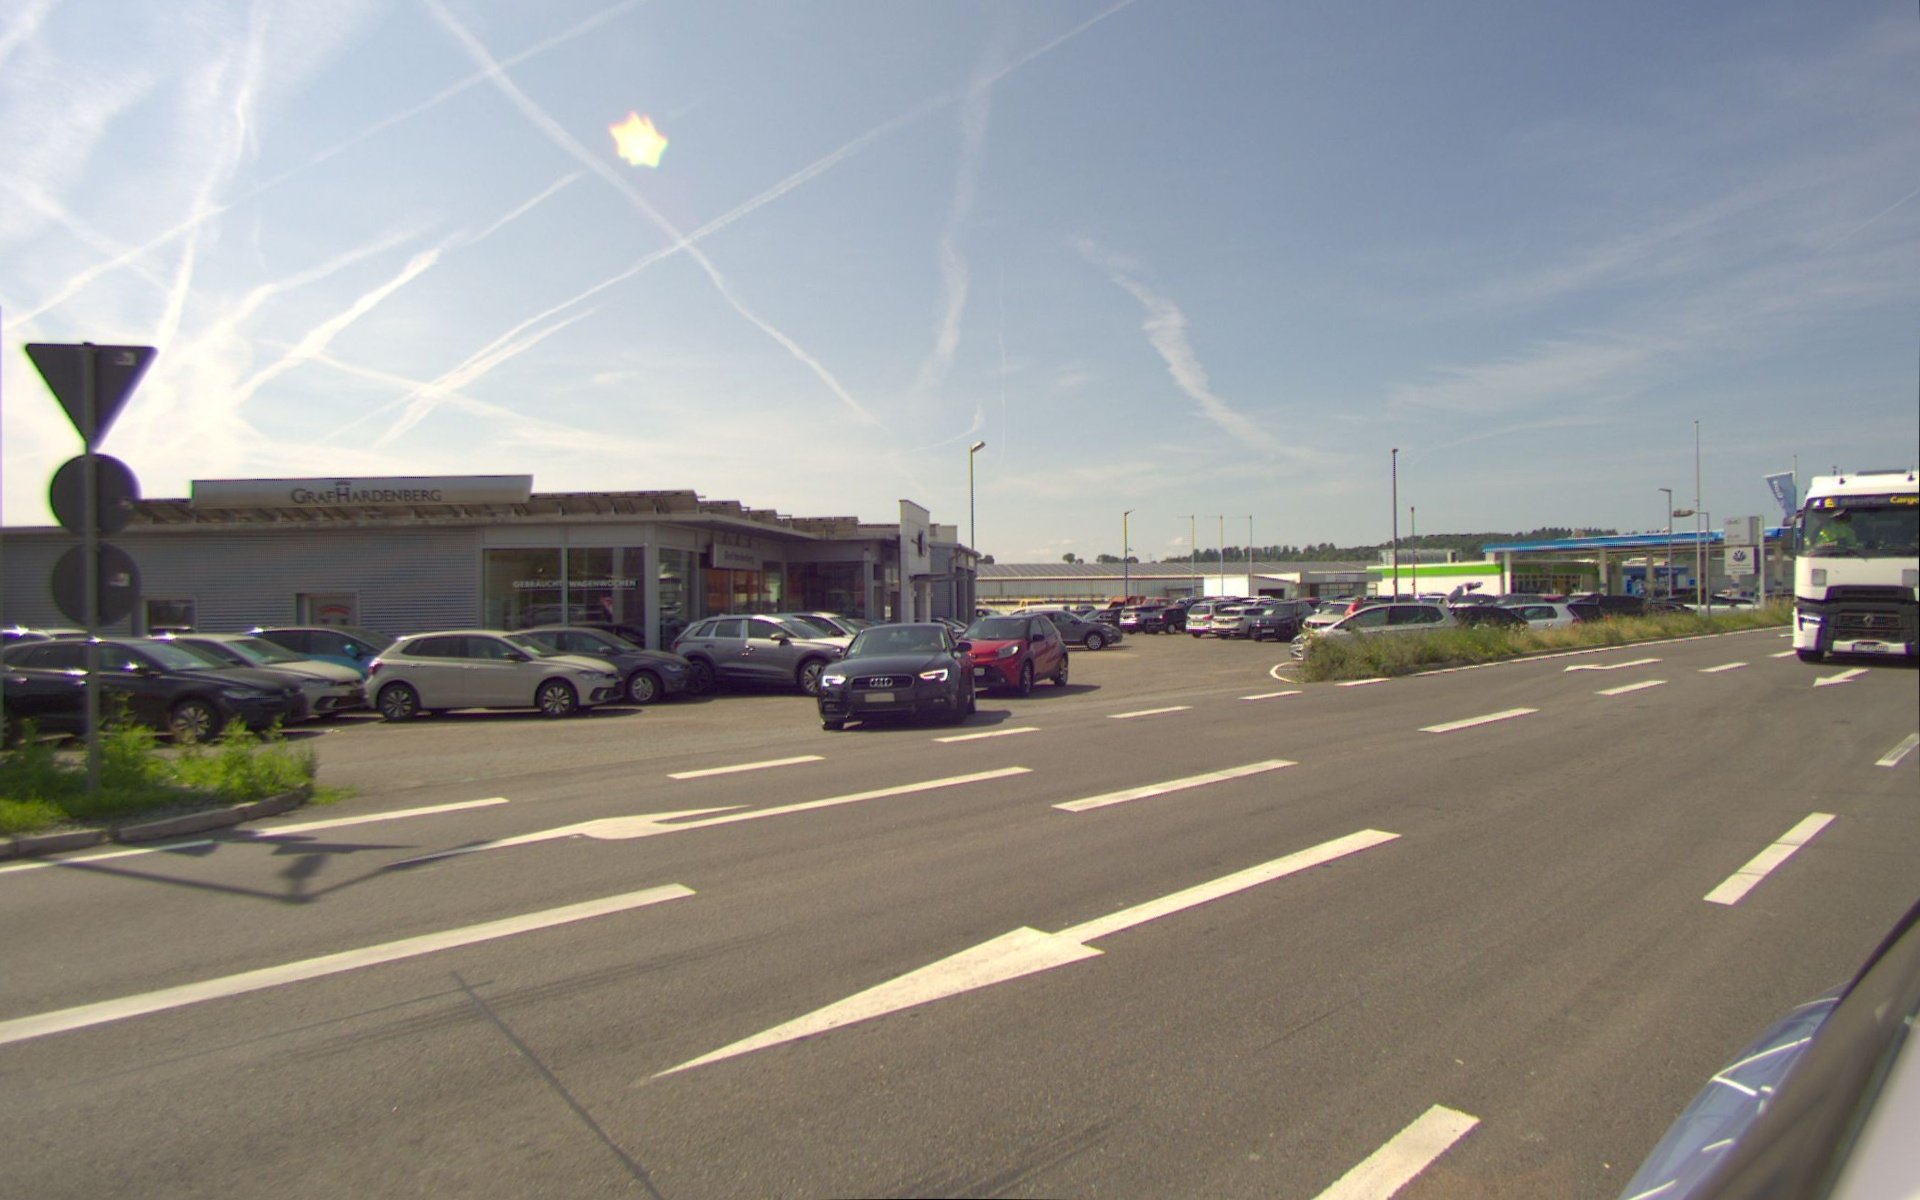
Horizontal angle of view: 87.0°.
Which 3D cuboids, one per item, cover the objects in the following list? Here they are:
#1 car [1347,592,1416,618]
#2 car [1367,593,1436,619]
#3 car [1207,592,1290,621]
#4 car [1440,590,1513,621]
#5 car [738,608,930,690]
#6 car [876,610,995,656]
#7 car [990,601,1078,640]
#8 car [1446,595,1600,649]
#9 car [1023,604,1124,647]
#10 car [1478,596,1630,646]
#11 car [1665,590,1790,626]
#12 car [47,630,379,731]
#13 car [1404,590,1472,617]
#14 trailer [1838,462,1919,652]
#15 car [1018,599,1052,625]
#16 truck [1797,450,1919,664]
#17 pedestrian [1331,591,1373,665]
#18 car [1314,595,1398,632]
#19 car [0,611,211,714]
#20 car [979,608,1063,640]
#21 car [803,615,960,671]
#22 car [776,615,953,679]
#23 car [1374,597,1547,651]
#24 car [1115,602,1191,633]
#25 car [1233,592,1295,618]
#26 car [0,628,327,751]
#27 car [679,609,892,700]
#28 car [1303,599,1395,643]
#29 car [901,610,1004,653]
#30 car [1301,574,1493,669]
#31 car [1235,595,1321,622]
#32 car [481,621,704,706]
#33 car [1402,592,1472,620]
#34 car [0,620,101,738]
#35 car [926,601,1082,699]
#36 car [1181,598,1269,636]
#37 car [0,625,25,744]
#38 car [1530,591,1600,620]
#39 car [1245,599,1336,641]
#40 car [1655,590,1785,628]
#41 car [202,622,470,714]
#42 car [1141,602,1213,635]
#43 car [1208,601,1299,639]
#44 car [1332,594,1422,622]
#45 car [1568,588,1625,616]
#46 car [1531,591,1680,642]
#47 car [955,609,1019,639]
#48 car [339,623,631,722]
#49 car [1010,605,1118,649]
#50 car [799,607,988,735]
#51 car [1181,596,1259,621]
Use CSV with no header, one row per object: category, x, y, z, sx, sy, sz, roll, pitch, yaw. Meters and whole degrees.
car,28.430,0.315,68.267,4.444,1.675,1.779,0,1,-25
car,26.375,0.341,60.471,4.452,1.459,1.776,-1,1,-36
car,16.896,0.369,59.354,4.442,1.603,1.827,0,0,-19
car,28.733,0.285,56.224,4.452,1.675,1.776,-1,1,-36
car,-2.826,1.059,23.073,3.939,1.692,1.914,0,0,13
car,-0.896,1.245,38.983,4.467,1.675,1.775,0,0,3
car,4.015,1.086,54.927,4.483,1.973,1.763,0,0,22
car,17.349,0.639,31.370,3.952,1.578,1.701,0,0,22
car,4.641,1.025,41.222,4.008,1.675,1.772,0,0,8
car,19.449,0.663,33.309,3.941,1.572,1.769,0,0,14
car,37.094,0.368,49.059,4.489,1.675,1.761,0,1,25
car,-12.114,1.269,16.642,4.071,1.468,1.798,0,0,-5
car,30.172,0.186,63.807,4.449,1.675,1.777,0,1,-32
trailer,25.750,-1.028,26.578,11.096,4.281,2.611,-1,1,-41
car,6.147,0.959,83.104,2.167,1.955,4.164,0,1,-5
truck,19.995,-0.841,21.452,5.938,4.037,2.644,-1,1,-42
pedestrian,10.470,0.728,27.074,0.974,1.936,0.740,0,0,15
car,18.885,0.614,48.255,4.352,1.675,1.775,-1,1,-38
car,-16.527,1.073,18.127,4.722,1.692,1.914,0,0,-5
car,3.165,1.210,52.288,4.027,1.510,1.764,0,1,21
car,-2.132,1.156,28.088,4.045,1.428,1.819,0,0,9
car,-2.367,1.154,25.555,4.141,1.475,1.890,0,0,9
car,14.470,0.666,29.529,4.284,1.470,1.766,0,1,17
car,11.143,0.980,58.309,4.453,1.675,1.775,-1,1,-37
car,21.586,0.332,72.085,2.025,1.750,4.548,0,1,-17
car,-11.564,1.211,14.364,4.008,1.551,1.778,0,0,-5
car,-3.567,1.051,20.797,3.973,1.692,1.765,0,0,19
car,16.299,0.811,42.289,4.634,1.675,1.903,-1,1,-45
car,-0.256,1.258,41.264,4.095,1.675,1.775,0,0,3
car,10.852,0.489,25.465,4.294,2.240,1.752,0,0,20
car,17.934,0.438,57.034,4.390,1.449,1.827,0,1,-19
car,-6.972,1.182,19.517,3.719,1.495,1.752,0,0,-5
car,27.566,0.323,58.445,4.452,1.545,1.691,-1,1,-36
car,-16.266,1.200,15.796,4.087,1.692,1.778,0,0,-5
car,0.986,0.911,20.131,1.756,1.675,4.045,-2,0,23
car,13.177,0.814,50.291,4.452,1.751,1.823,-1,1,-36
car,-15.635,1.233,13.894,3.831,1.692,1.778,0,0,-5
car,34.312,0.289,57.362,4.452,1.600,1.776,-1,1,-36
car,14.458,0.810,44.115,4.464,1.675,1.964,-1,1,-45
car,35.204,0.396,47.017,4.487,1.675,1.762,0,0,23
car,-11.483,1.218,18.844,3.881,1.537,1.778,0,0,-5
car,12.014,0.991,55.926,4.464,1.675,1.771,-1,1,-45
car,13.820,0.904,47.505,4.453,1.675,1.776,-1,1,-36
car,23.493,0.396,57.167,1.910,1.477,4.543,0,1,-29
car,41.636,0.099,66.210,4.179,1.734,1.714,-1,1,-36
car,22.066,0.524,34.764,3.945,1.675,1.767,0,0,17
car,1.731,1.523,65.718,3.899,1.751,1.953,1,1,42
car,-7.957,1.186,17.272,4.179,1.510,1.751,0,0,-5
car,3.967,1.017,38.579,4.007,1.629,1.690,0,-1,8
car,-0.720,0.930,14.156,1.931,1.350,4.809,-5,-3,4
car,16.253,0.485,63.295,4.442,1.493,1.827,0,1,-19
